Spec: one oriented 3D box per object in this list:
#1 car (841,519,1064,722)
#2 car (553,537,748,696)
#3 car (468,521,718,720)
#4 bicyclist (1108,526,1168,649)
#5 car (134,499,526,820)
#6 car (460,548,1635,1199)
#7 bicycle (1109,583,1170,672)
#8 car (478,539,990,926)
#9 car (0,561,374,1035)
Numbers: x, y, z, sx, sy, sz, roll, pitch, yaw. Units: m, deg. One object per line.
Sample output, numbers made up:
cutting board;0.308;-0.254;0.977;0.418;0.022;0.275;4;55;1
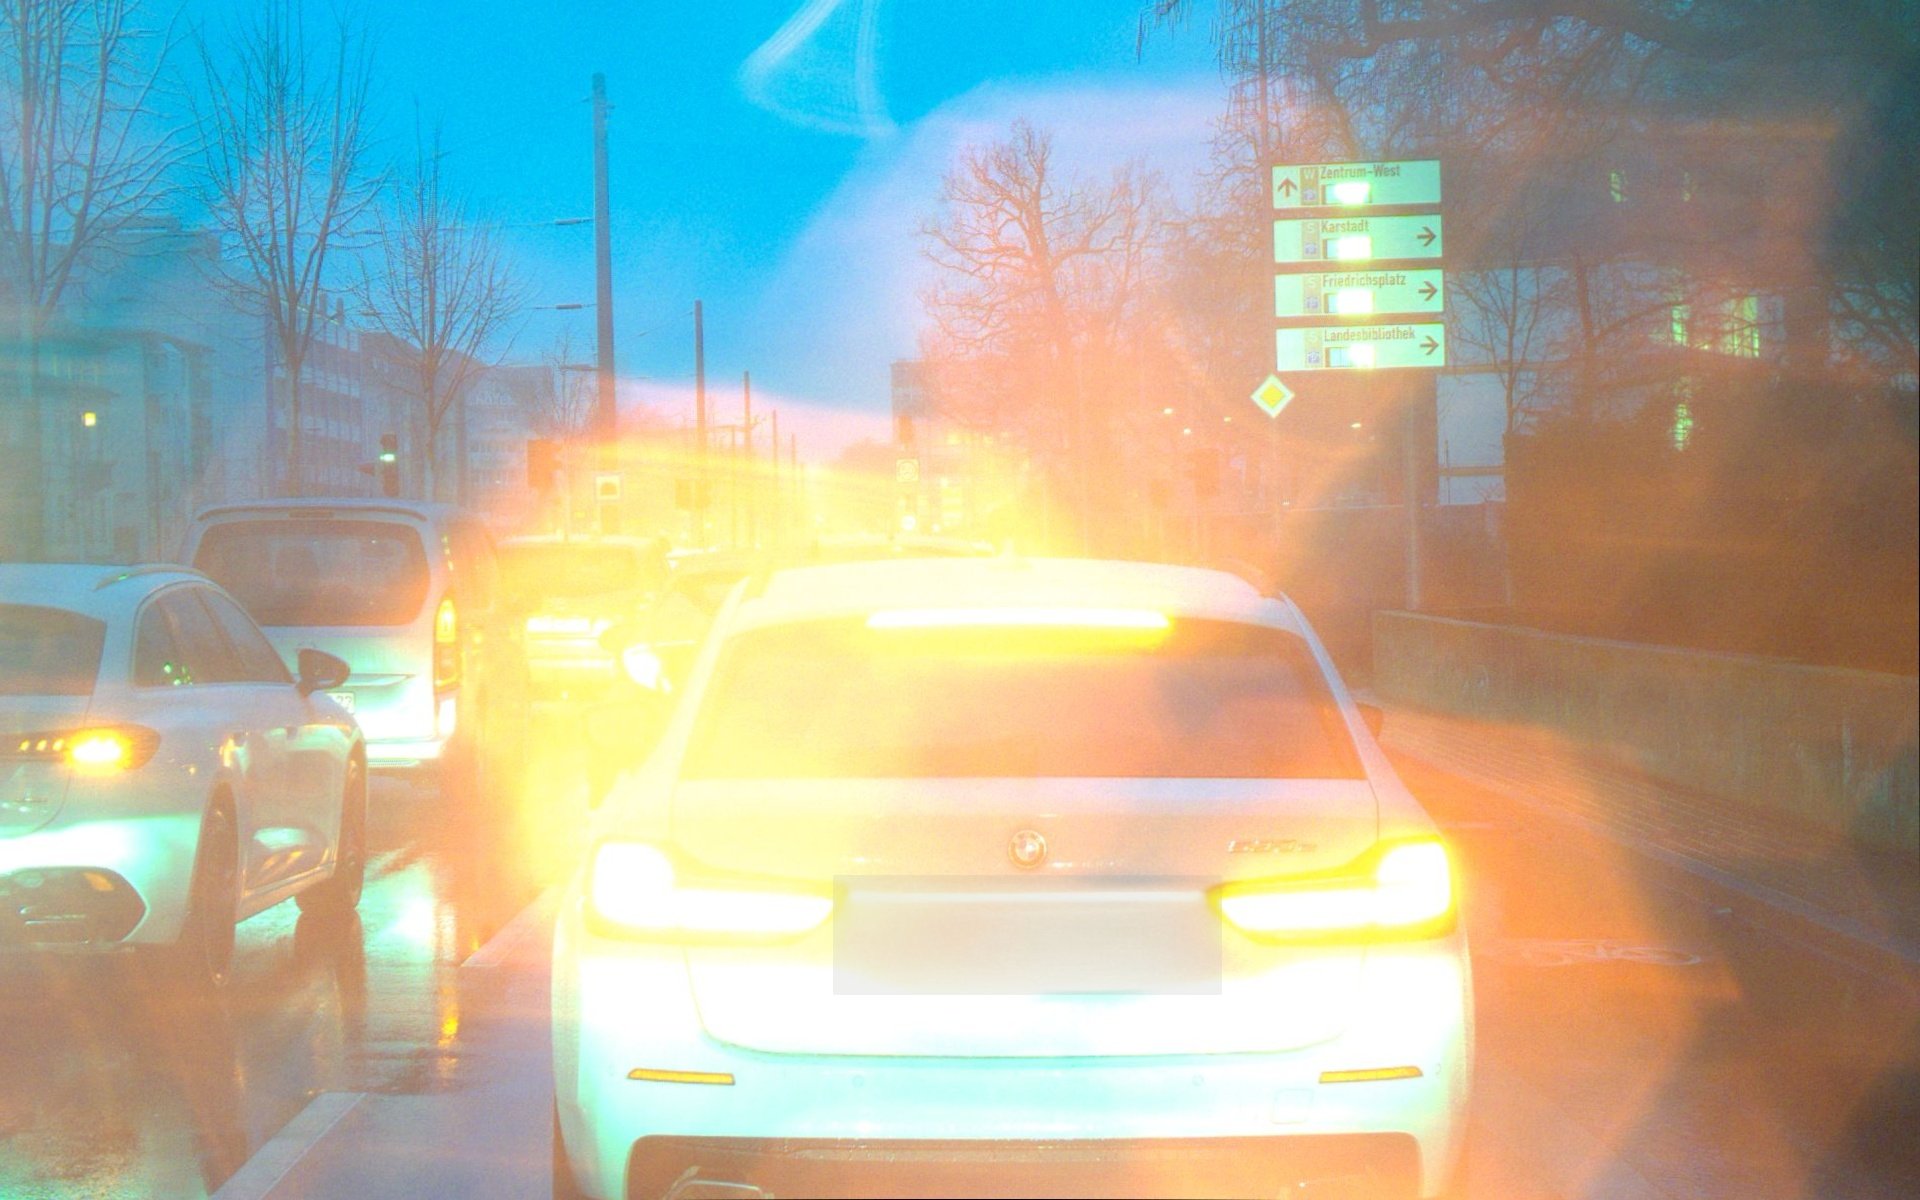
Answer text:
car;-0.079;0.128;29.799;1.806;1.640;4.000;0;1;0
car;-3.329;0.137;37.638;1.806;1.640;4.000;0;1;0
car;-3.155;0.128;30.245;1.806;1.640;4.000;0;1;0
bicyclist;2.042;-0.148;39.594;0.645;1.384;0.890;-1;1;2
car;-3.690;0.294;20.847;1.793;1.730;4.538;0;1;-3
car;0.130;0.647;7.948;1.999;1.503;4.164;0;1;-1
bicycle;2.055;0.303;39.582;0.645;0.963;2.046;-1;1;2
car;-0.879;0.465;15.119;1.936;1.452;4.164;0;1;-1
car;-3.383;0.563;12.506;1.846;1.400;4.614;0;1;-2
